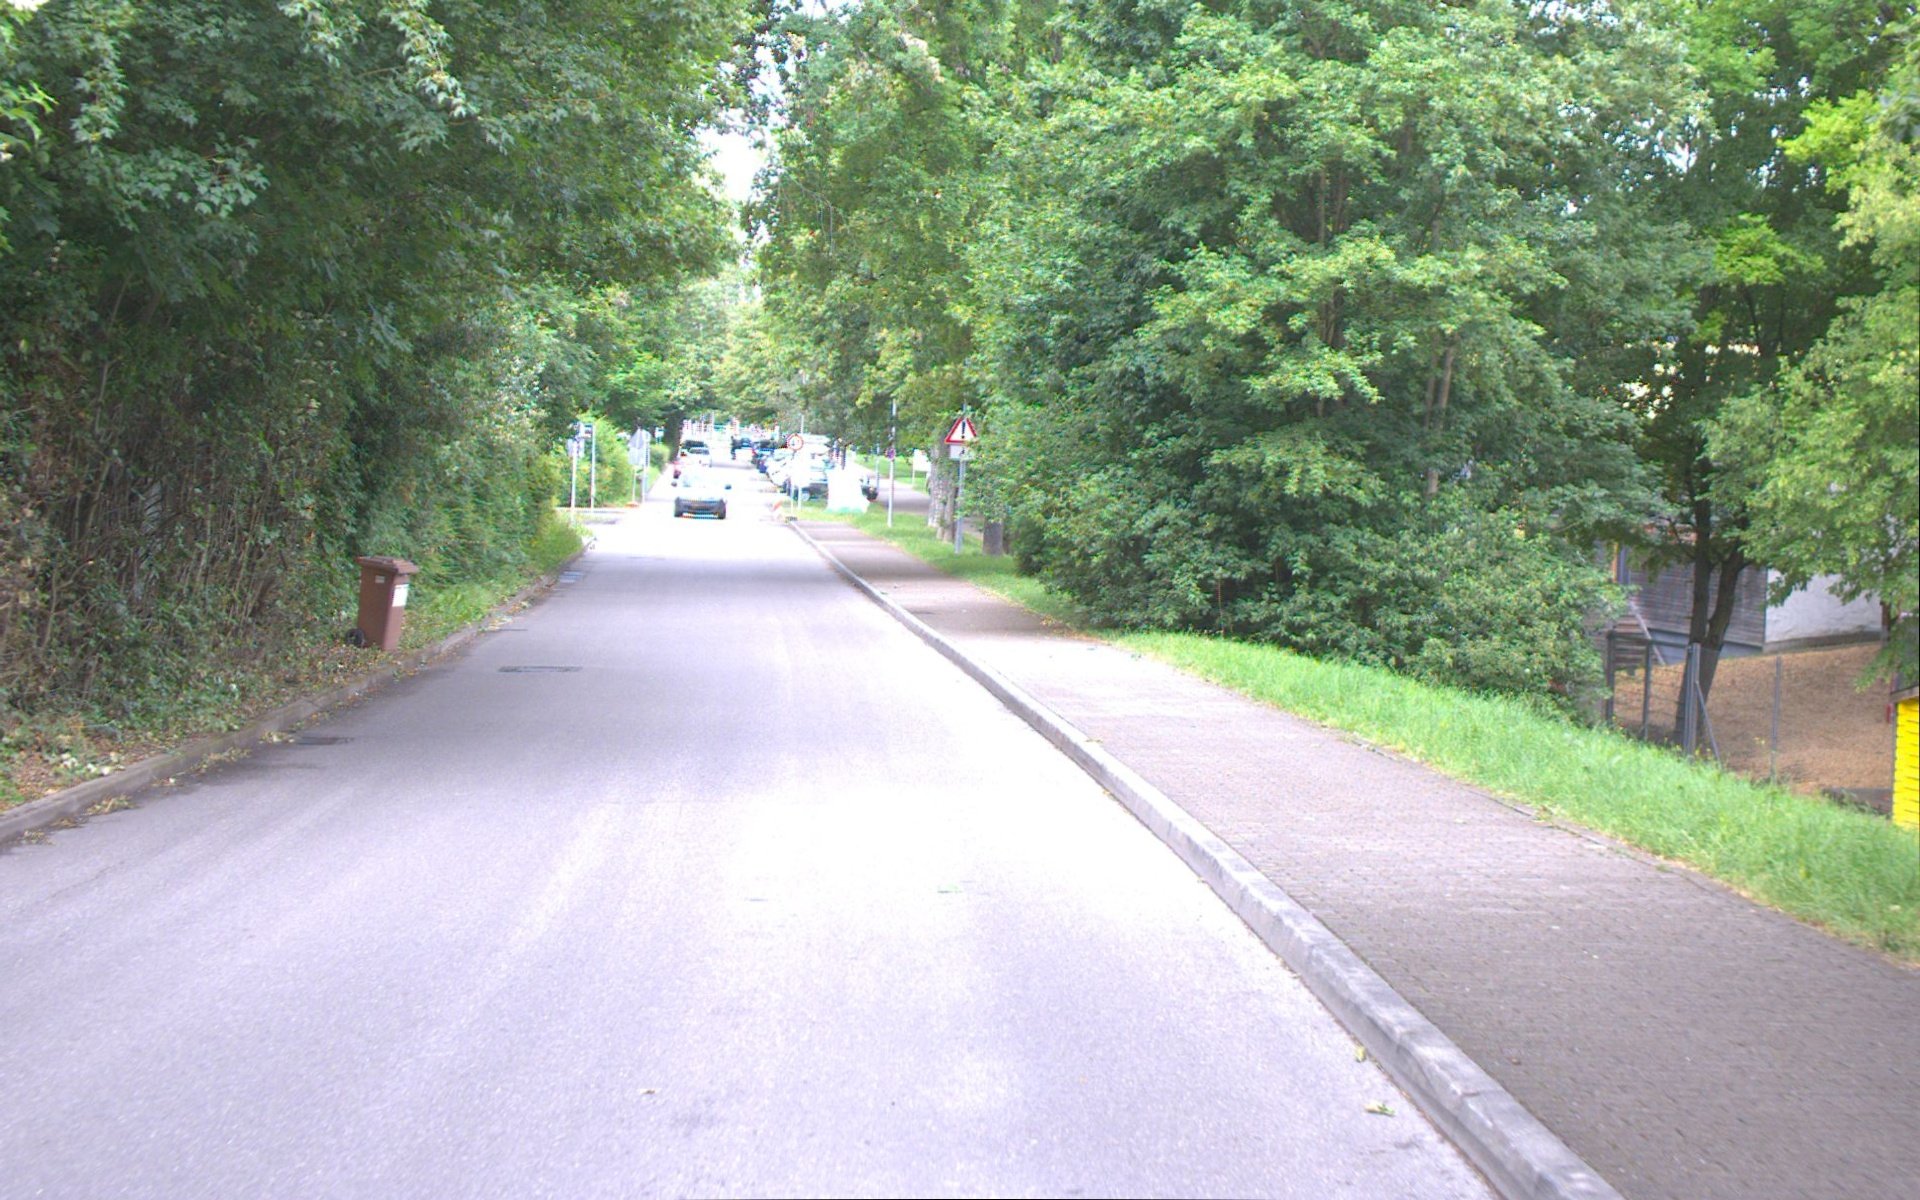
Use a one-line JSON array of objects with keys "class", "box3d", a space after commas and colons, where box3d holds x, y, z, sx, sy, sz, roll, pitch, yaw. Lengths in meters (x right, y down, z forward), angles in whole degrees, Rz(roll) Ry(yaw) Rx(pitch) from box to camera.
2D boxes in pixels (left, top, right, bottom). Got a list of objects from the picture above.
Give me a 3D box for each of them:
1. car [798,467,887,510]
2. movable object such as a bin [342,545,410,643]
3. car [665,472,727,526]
[{"class": "car", "box3d": [-5.384, -5.079, 157.432, 3.986, 1.766, 2.000, 2, 1, -2]}, {"class": "movable object such as a bin", "box3d": [-5.859, -0.059, 34.505, 0.590, 0.954, 0.470, 2, 1, -3]}, {"class": "car", "box3d": [-9.325, -3.572, 121.535, 1.993, 1.766, 4.001, 2, 1, -3]}]
